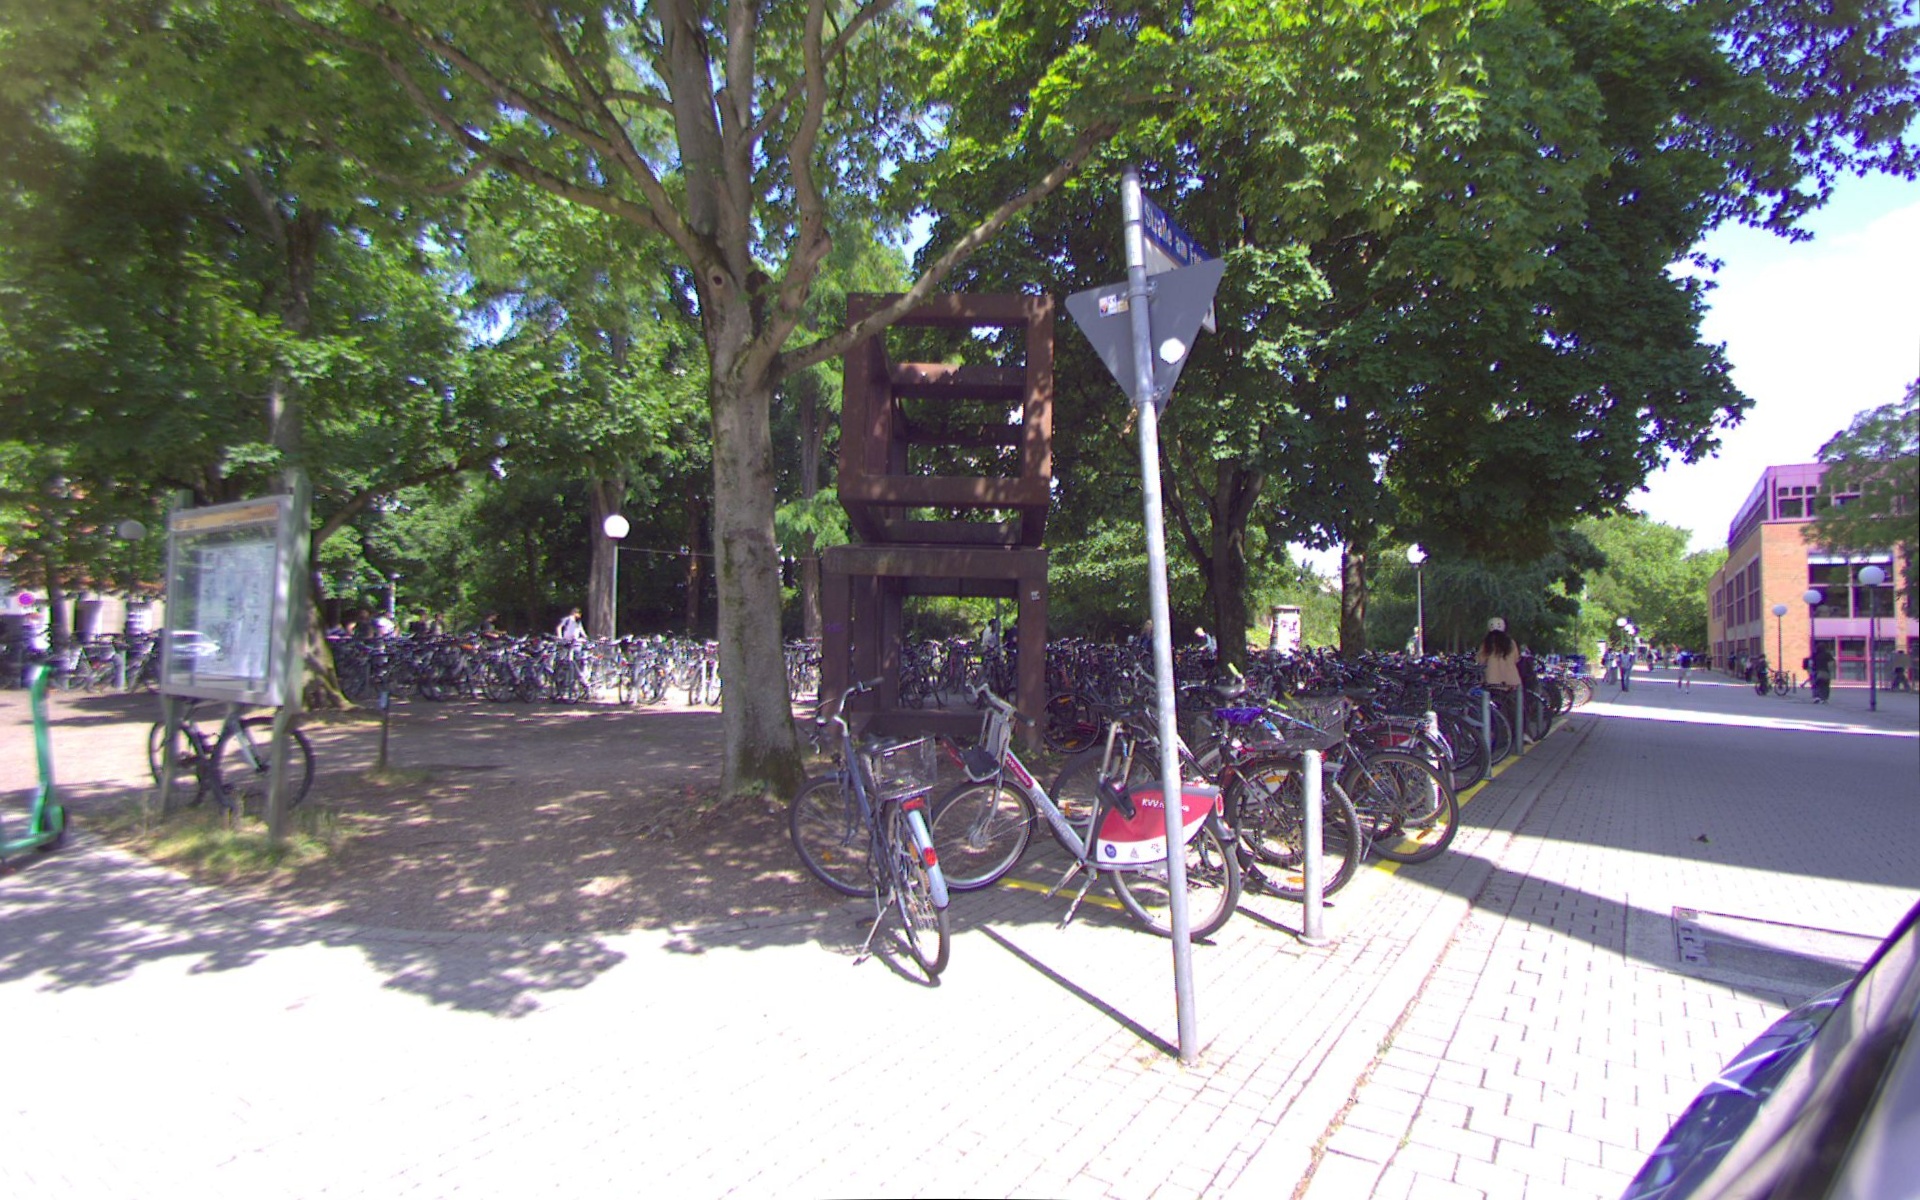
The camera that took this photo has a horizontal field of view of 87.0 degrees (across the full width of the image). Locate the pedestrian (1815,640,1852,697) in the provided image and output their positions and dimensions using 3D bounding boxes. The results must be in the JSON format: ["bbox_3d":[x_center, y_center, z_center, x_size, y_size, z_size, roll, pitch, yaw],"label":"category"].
[{"bbox_3d":[28.465,2.217,32.972,0.957,1.786,0.743,-1,0,-38],"label":"pedestrian"}]

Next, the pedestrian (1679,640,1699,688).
[{"bbox_3d":[28.441,2.496,39.472,0.560,1.786,0.795,0,0,31],"label":"pedestrian"}]

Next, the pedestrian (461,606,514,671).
[{"bbox_3d":[-13.421,1.083,28.761,0.958,1.798,0.959,1,-2,13],"label":"pedestrian"}]

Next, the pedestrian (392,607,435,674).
[{"bbox_3d":[-14.984,1.104,27.773,0.708,1.798,0.744,1,-2,4],"label":"pedestrian"}]

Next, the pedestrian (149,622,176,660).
[{"bbox_3d":[-29.798,1.525,37.813,0.723,1.363,0.565,0,0,31],"label":"pedestrian"}]

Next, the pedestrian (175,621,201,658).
[{"bbox_3d":[-29.387,1.513,38.507,0.723,1.363,0.565,0,0,31],"label":"pedestrian"}]

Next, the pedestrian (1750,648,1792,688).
[{"bbox_3d":[32.596,2.709,40.660,1.181,1.531,0.731,0,0,-12],"label":"pedestrian"}]

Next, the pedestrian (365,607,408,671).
[{"bbox_3d":[-16.373,1.099,28.902,0.714,1.798,0.737,0,-2,27],"label":"pedestrian"}]

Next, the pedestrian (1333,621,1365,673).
[{"bbox_3d":[12.111,1.455,31.500,0.742,1.590,0.709,-1,-3,43],"label":"pedestrian"}]

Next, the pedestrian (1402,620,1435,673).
[{"bbox_3d":[14.238,1.439,31.425,0.742,1.590,0.709,-1,-3,43],"label":"pedestrian"}]

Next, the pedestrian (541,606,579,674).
[{"bbox_3d":[-10.826,1.084,27.413,0.706,1.798,0.745,1,-2,-5],"label":"pedestrian"}]

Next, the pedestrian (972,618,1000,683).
[{"bbox_3d":[0.725,1.412,28.508,0.707,1.798,0.745,1,-2,-3],"label":"pedestrian"}]

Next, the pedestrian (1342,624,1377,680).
[{"bbox_3d":[11.505,1.483,29.140,0.742,1.590,0.709,-1,-3,43],"label":"pedestrian"}]

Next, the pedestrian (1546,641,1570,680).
[{"bbox_3d":[24.297,2.457,41.100,0.504,1.531,0.692,0,0,-9],"label":"pedestrian"}]

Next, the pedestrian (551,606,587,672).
[{"bbox_3d":[-10.901,1.074,28.220,0.706,1.798,0.745,1,-2,-5],"label":"pedestrian"}]

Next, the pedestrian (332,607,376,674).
[{"bbox_3d":[-16.783,1.114,28.032,0.714,1.798,0.737,0,-2,27],"label":"pedestrian"}]

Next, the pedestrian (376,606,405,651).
[{"bbox_3d":[-21.129,1.050,37.551,0.713,1.601,0.661,0,0,31],"label":"pedestrian"}]

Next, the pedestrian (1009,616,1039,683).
[{"bbox_3d":[1.740,1.346,27.574,0.707,1.798,0.745,1,-2,-2],"label":"pedestrian"}]

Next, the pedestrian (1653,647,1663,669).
[{"bbox_3d":[59.038,4.906,85.622,0.663,1.786,0.795,0,0,33],"label":"pedestrian"}]

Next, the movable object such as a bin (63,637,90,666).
[{"bbox_3d":[-33.463,1.940,38.323,0.737,1.085,0.593,-4,-5,36],"label":"movable object such as a bin"}]

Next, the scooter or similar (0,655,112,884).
[{"bbox_3d":[-5.413,0.920,5.876,0.487,1.128,1.363,2,-1,-30],"label":"scooter or similar"}]

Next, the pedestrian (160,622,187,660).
[{"bbox_3d":[-29.077,1.516,37.404,0.723,1.363,0.565,0,0,31],"label":"pedestrian"}]

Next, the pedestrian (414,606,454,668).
[{"bbox_3d":[-15.402,1.081,29.640,0.714,1.798,0.737,0,-2,27],"label":"pedestrian"}]

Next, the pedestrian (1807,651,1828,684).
[{"bbox_3d":[41.249,3.261,48.691,0.686,1.531,0.509,0,0,34],"label":"pedestrian"}]

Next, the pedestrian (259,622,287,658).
[{"bbox_3d":[-26.589,1.543,39.155,0.713,1.363,0.661,0,0,31],"label":"pedestrian"}]

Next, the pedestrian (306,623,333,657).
[{"bbox_3d":[-24.695,1.537,39.033,0.617,1.287,0.661,0,0,31],"label":"pedestrian"}]

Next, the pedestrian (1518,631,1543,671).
[{"bbox_3d":[22.310,1.995,39.580,0.504,1.531,0.692,0,0,-9],"label":"pedestrian"}]

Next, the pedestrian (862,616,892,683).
[{"bbox_3d":[-2.265,1.353,27.726,0.708,1.798,0.744,1,-2,4],"label":"pedestrian"}]

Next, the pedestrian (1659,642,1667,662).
[{"bbox_3d":[64.910,4.757,93.462,0.562,1.786,0.792,0,0,41],"label":"pedestrian"}]

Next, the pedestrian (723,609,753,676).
[{"bbox_3d":[-6.071,1.151,27.618,0.705,1.798,0.746,2,-2,-17],"label":"pedestrian"}]

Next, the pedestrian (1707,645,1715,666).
[{"bbox_3d":[66.959,4.917,90.220,0.562,1.786,0.792,0,0,41],"label":"pedestrian"}]

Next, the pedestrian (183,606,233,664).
[{"bbox_3d":[-24.030,1.105,32.343,0.910,1.798,0.952,0,-2,27],"label":"pedestrian"}]

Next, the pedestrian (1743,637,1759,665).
[{"bbox_3d":[52.030,3.327,66.576,0.739,1.786,0.963,0,0,34],"label":"pedestrian"}]

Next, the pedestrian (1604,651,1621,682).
[{"bbox_3d":[33.073,3.362,51.305,0.686,1.531,0.509,0,0,34],"label":"pedestrian"}]

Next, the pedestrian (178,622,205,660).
[{"bbox_3d":[-28.784,1.517,37.900,0.723,1.363,0.565,0,0,31],"label":"pedestrian"}]

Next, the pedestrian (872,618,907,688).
[{"bbox_3d":[-1.841,1.379,26.537,0.797,1.798,0.854,1,-2,2],"label":"pedestrian"}]

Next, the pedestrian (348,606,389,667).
[{"bbox_3d":[-17.785,1.088,30.429,0.709,1.798,0.742,1,-2,10],"label":"pedestrian"}]

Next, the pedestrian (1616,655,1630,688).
[{"bbox_3d":[31.745,3.408,48.481,0.512,1.531,0.682,0,0,37],"label":"pedestrian"}]

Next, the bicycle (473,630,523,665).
[{"bbox_3d":[-14.490,1.484,31.782,0.471,1.053,1.745,-1,-1,13],"label":"bicycle"}]

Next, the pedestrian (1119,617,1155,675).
[{"bbox_3d":[4.980,1.292,28.470,0.705,1.590,0.746,2,-2,-18],"label":"pedestrian"}]

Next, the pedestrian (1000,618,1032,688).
[{"bbox_3d":[1.483,1.396,26.838,0.706,1.798,0.657,1,-2,-5],"label":"pedestrian"}]

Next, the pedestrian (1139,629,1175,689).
[{"bbox_3d":[5.368,1.606,27.544,0.706,1.590,0.746,1,-2,-13],"label":"pedestrian"}]

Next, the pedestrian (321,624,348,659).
[{"bbox_3d":[-23.905,1.589,38.685,0.617,1.287,0.661,0,0,31],"label":"pedestrian"}]

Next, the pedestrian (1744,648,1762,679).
[{"bbox_3d":[47.114,3.753,60.148,0.739,1.786,0.963,0,0,34],"label":"pedestrian"}]

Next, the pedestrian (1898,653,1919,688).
[{"bbox_3d":[43.250,3.221,46.113,0.686,1.531,0.509,0,0,34],"label":"pedestrian"}]

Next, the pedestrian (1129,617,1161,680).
[{"bbox_3d":[5.443,1.427,29.861,0.706,1.813,0.745,1,-2,-9],"label":"pedestrian"}]

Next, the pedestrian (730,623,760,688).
[{"bbox_3d":[-6.073,1.559,28.583,0.705,1.798,0.746,2,-2,-17],"label":"pedestrian"}]

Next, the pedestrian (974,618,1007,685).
[{"bbox_3d":[0.828,1.397,27.596,0.706,1.798,0.746,1,-2,-11],"label":"pedestrian"}]

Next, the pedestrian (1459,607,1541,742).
[{"bbox_3d":[7.178,0.970,13.461,0.937,1.725,0.423,0,-4,31],"label":"pedestrian"}]

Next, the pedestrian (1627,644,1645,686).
[{"bbox_3d":[25.751,2.471,38.541,0.512,1.531,0.682,0,0,37],"label":"pedestrian"}]

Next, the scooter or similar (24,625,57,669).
[{"bbox_3d":[-26.330,1.341,28.971,1.286,1.235,0.420,-2,-3,36],"label":"scooter or similar"}]
